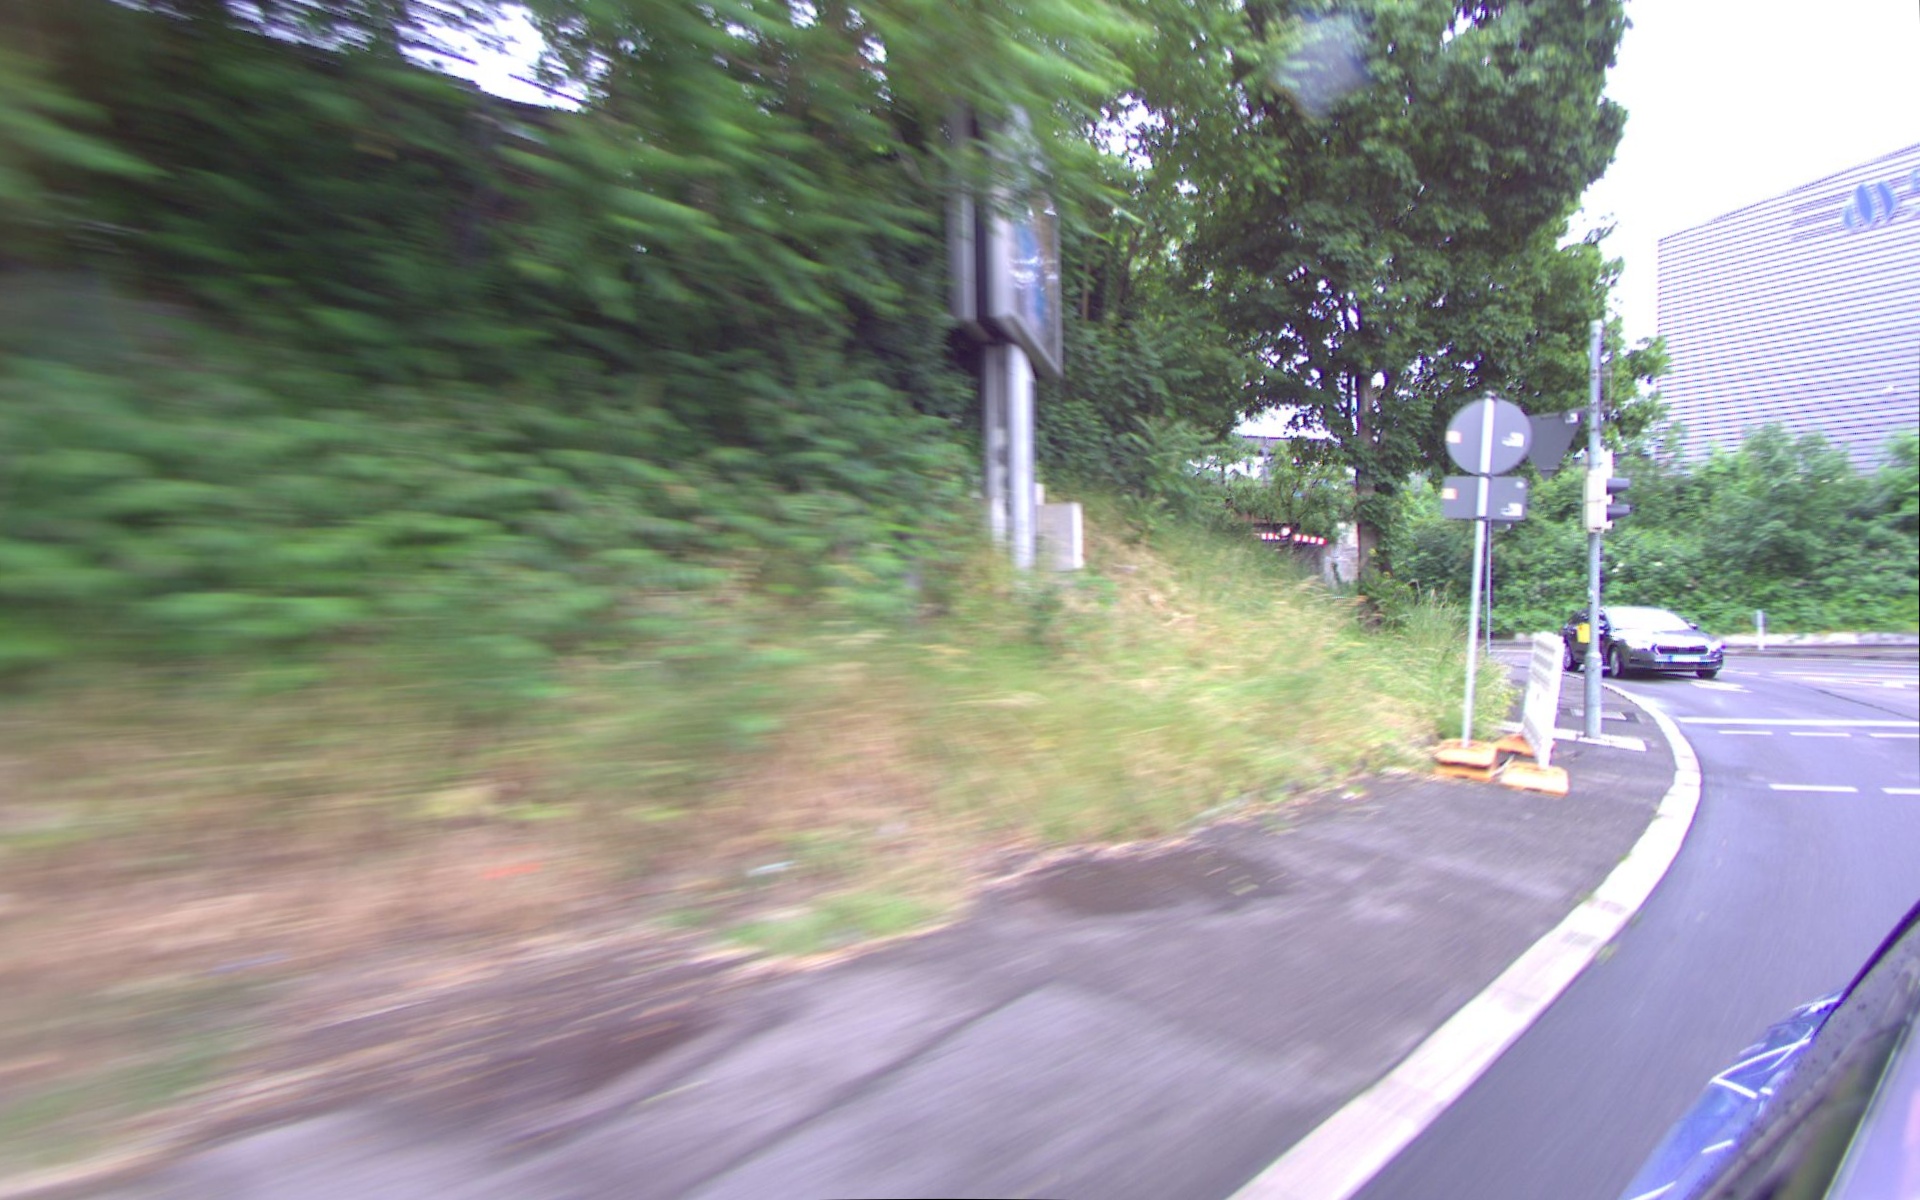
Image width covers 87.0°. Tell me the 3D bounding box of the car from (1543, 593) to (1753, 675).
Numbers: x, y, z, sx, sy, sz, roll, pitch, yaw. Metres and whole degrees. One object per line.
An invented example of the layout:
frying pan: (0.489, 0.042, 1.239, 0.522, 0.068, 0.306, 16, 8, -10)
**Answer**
car: (14.245, 0.690, 21.273, 1.779, 1.537, 4.047, -1, -1, 4)
